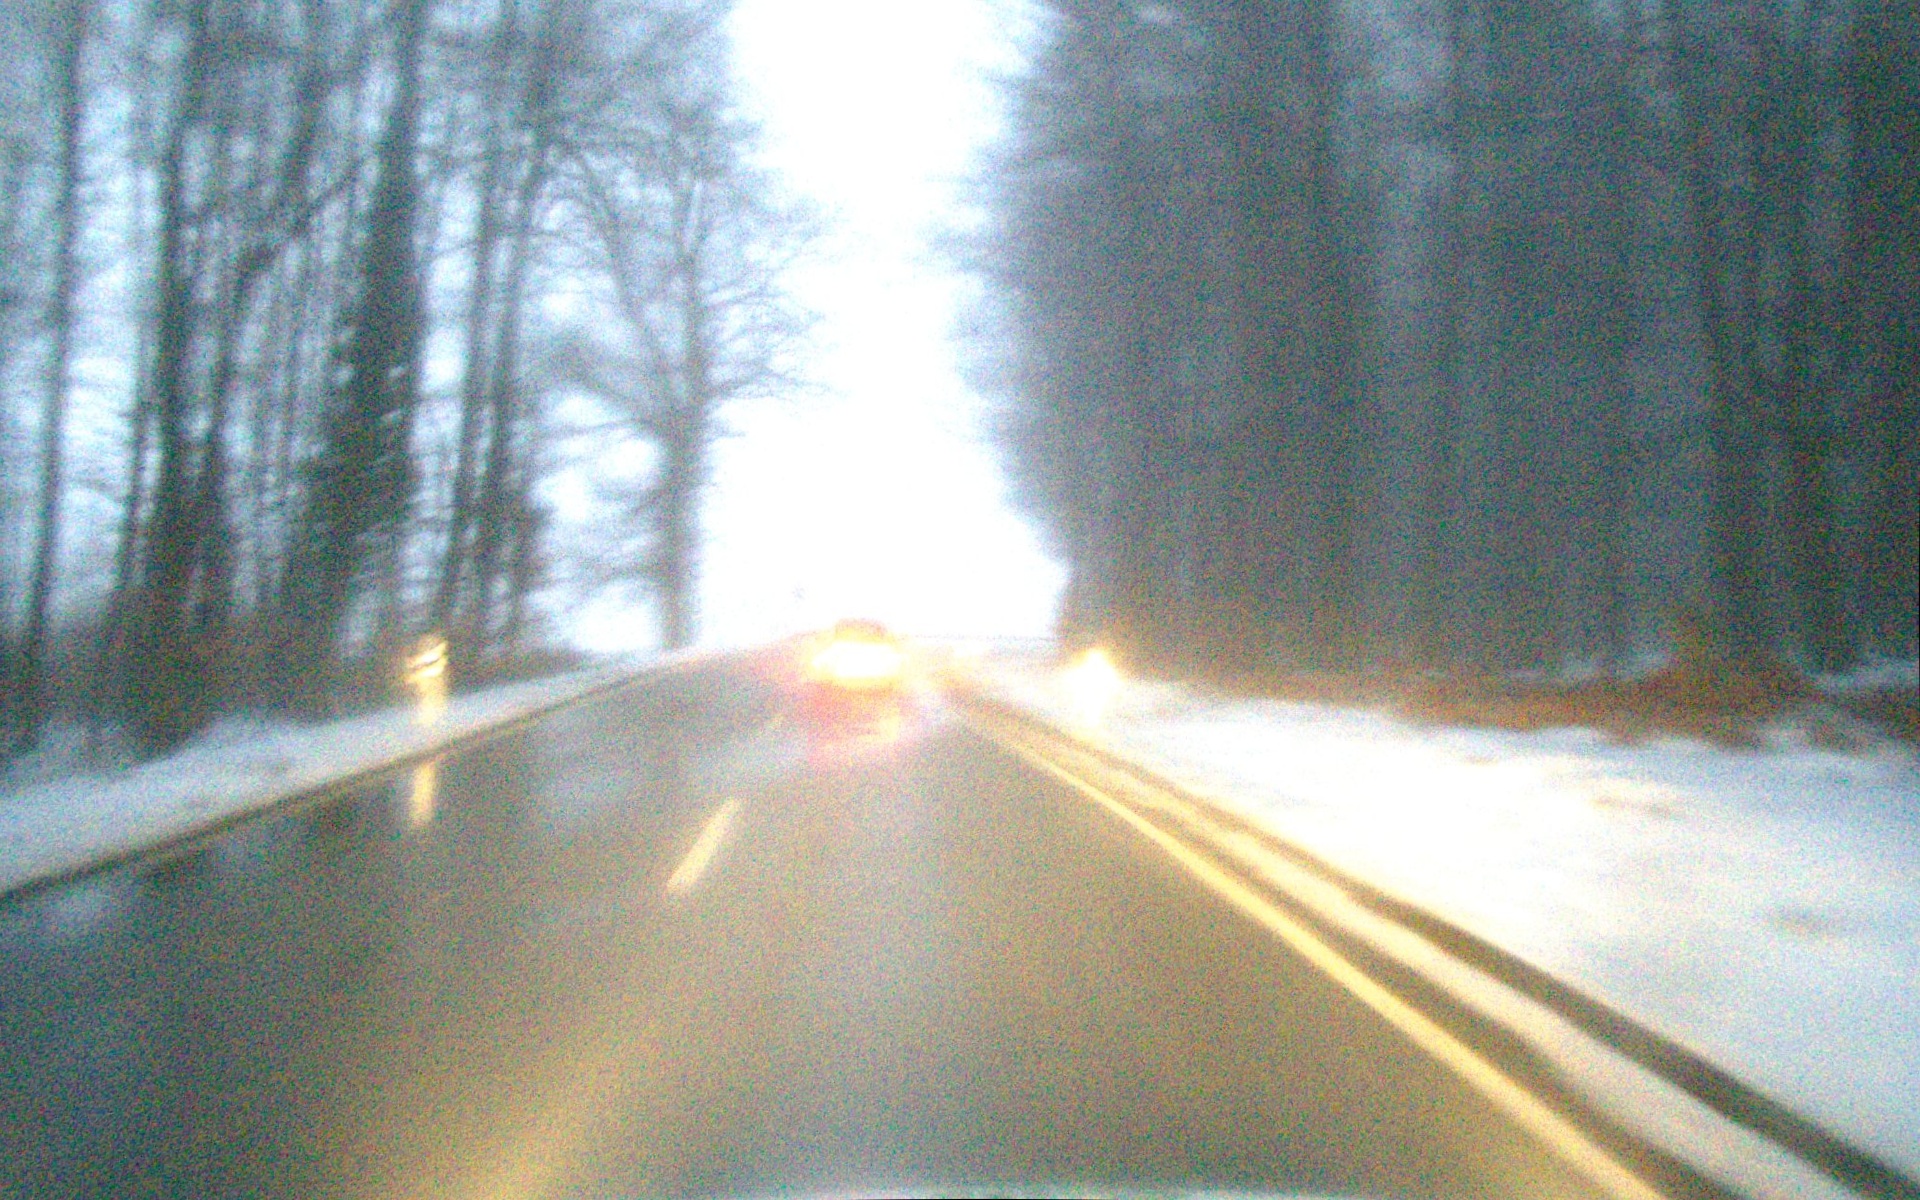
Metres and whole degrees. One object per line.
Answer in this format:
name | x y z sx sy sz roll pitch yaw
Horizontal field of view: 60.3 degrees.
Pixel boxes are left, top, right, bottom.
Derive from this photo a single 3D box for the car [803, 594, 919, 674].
car | -2.000 0.625 32.326 1.909 1.405 3.992 2 0 -8
